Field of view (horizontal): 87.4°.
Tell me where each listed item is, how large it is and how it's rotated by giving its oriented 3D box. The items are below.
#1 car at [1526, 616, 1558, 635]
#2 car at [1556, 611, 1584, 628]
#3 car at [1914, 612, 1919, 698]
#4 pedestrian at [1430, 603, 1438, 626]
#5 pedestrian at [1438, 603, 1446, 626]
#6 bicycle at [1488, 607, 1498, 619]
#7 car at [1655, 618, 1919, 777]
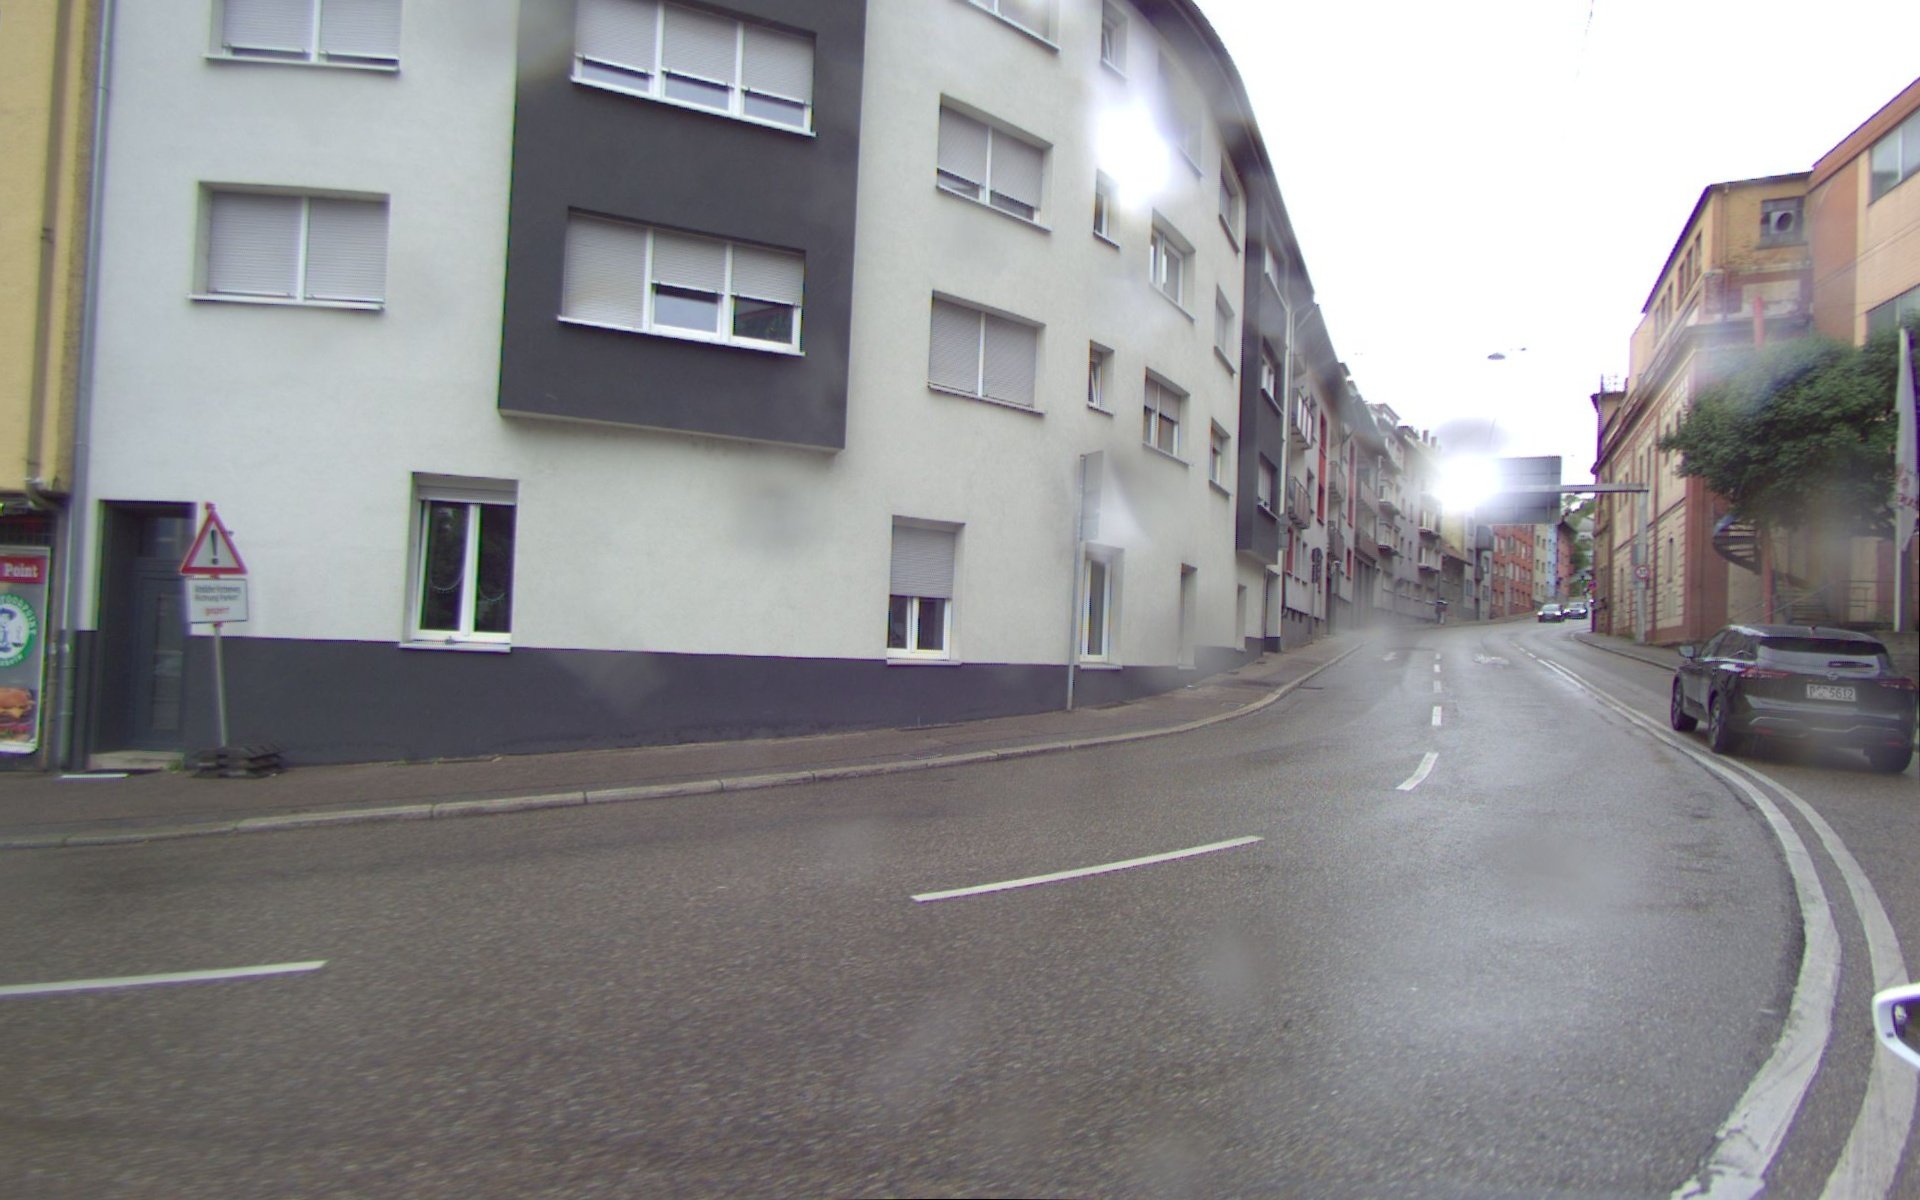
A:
[{"bbox_3d":[53.449,2.348,92.254,1.774,1.530,3.980,1,-2,41],"label":"car"},{"bbox_3d":[61.666,1.987,101.501,1.774,1.530,3.980,1,-2,41],"label":"car"},{"bbox_3d":[18.090,1.095,16.629,1.824,1.639,4.910,1,1,25],"label":"car"},{"bbox_3d":[37.270,1.111,78.934,0.516,1.800,0.621,0,1,33],"label":"pedestrian"},{"bbox_3d":[37.725,1.118,78.635,0.516,1.800,0.621,0,1,33],"label":"pedestrian"},{"bbox_3d":[52.272,1.233,98.512,0.492,1.122,1.792,1,2,39],"label":"bicycle"},{"bbox_3d":[10.510,1.094,12.928,1.851,1.615,3.918,3,1,25],"label":"car"}]
